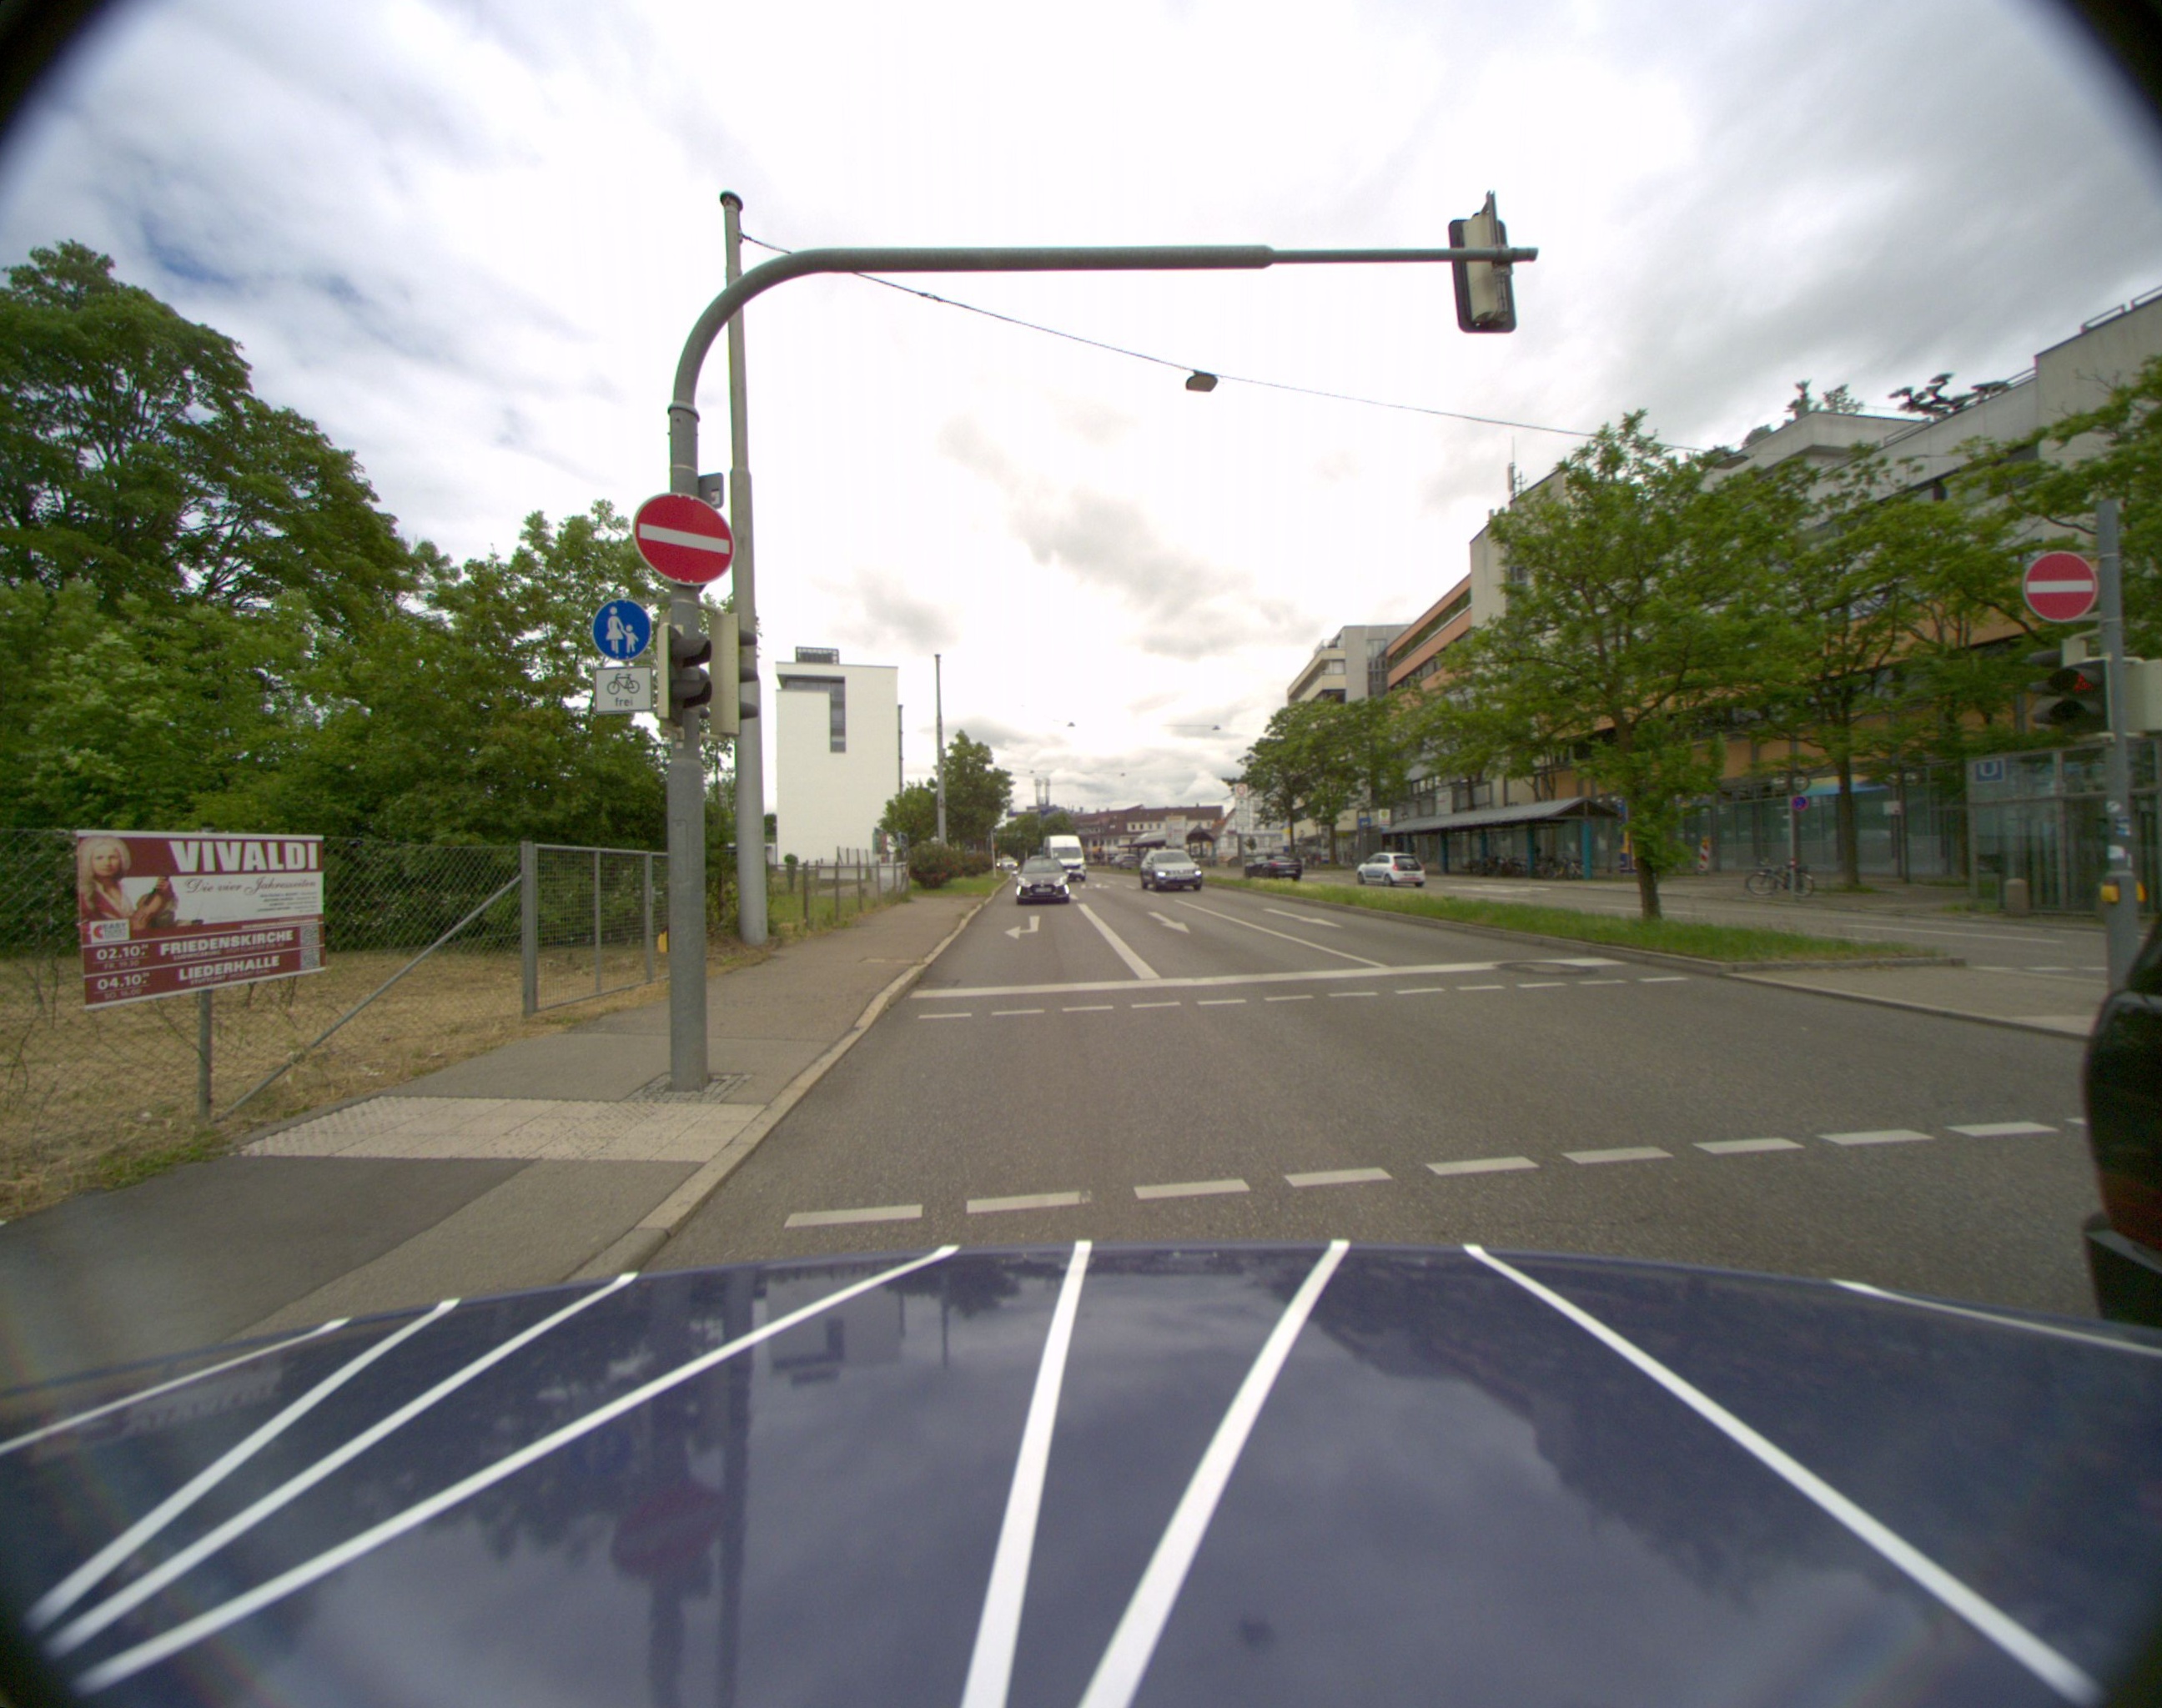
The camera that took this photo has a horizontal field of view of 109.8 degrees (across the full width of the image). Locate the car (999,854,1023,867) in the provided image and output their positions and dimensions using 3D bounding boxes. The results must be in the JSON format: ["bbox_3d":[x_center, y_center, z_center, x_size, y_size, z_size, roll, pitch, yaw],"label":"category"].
[{"bbox_3d":[-8.022,0.711,86.748,2.001,1.368,3.994,-1,1,-15],"label":"car"}]

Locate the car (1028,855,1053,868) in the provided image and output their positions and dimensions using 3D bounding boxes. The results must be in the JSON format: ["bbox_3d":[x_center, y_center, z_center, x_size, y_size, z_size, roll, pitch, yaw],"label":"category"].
[{"bbox_3d":[-4.556,0.812,84.772,2.001,1.368,3.994,-1,1,-15],"label":"car"}]

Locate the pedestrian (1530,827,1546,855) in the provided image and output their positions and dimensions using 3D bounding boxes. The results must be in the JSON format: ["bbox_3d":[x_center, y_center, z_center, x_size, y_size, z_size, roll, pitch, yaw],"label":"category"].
[{"bbox_3d":[27.067,-0.748,44.998,0.533,1.634,0.675,-1,1,-3],"label":"pedestrian"}]

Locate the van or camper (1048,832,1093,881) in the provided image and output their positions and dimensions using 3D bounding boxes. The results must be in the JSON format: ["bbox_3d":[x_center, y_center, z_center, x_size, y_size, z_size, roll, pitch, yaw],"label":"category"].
[{"bbox_3d":[-0.531,0.178,45.982,2.279,2.690,6.998,-1,-1,3],"label":"van or camper"}]

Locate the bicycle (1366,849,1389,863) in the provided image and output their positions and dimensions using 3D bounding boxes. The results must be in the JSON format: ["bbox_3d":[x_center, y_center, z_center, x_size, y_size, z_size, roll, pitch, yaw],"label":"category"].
[{"bbox_3d":[27.722,0.182,71.069,1.970,1.312,0.706,-1,1,12],"label":"bicycle"}]

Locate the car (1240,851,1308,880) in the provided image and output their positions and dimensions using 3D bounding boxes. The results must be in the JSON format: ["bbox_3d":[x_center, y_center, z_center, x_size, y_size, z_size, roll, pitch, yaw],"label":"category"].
[{"bbox_3d":[10.311,0.572,40.981,1.819,1.390,5.007,1,0,-8],"label":"car"}]

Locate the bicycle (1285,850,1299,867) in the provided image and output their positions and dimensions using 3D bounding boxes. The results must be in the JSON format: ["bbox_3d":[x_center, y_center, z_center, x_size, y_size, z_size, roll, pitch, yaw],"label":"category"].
[{"bbox_3d":[16.322,0.351,58.761,0.625,1.246,1.687,0,1,29],"label":"bicycle"}]

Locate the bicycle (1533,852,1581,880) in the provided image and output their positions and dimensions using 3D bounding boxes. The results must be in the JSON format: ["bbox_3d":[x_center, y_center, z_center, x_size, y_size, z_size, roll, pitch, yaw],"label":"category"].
[{"bbox_3d":[22.179,0.533,35.367,2.073,1.147,0.710,-5,2,-19],"label":"bicycle"}]

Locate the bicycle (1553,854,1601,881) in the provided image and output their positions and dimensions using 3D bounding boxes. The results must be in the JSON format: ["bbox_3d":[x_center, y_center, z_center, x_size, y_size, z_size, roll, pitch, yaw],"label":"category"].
[{"bbox_3d":[22.453,0.584,34.378,2.073,1.147,0.710,-2,1,-19],"label":"bicycle"}]

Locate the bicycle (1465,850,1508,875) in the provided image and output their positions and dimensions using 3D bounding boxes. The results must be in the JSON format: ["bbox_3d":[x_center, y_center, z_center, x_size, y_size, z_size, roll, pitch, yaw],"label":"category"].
[{"bbox_3d":[21.252,0.446,39.823,2.073,1.147,0.710,-4,1,-19],"label":"bicycle"}]

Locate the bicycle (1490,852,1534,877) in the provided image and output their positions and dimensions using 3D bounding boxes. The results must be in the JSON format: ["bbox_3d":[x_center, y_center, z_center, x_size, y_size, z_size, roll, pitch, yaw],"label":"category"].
[{"bbox_3d":[21.359,0.512,37.668,2.073,1.147,0.710,-2,1,-19],"label":"bicycle"}]

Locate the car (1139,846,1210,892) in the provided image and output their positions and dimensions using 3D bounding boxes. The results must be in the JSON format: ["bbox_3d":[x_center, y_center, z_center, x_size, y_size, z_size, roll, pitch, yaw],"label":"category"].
[{"bbox_3d":[3.708,0.564,30.994,1.999,1.640,4.392,-3,0,-4],"label":"car"}]

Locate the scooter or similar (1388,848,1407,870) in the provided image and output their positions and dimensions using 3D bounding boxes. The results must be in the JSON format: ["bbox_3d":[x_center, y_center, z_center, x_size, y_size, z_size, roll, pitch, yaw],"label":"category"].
[{"bbox_3d":[19.967,0.308,47.948,1.205,1.377,0.222,-1,1,-11],"label":"scooter or similar"}]

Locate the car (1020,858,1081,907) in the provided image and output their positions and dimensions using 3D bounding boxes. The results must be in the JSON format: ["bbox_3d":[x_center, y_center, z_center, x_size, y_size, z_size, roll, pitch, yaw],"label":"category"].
[{"bbox_3d":[-1.109,0.916,25.633,1.864,1.516,3.999,-1,-1,-5],"label":"car"}]

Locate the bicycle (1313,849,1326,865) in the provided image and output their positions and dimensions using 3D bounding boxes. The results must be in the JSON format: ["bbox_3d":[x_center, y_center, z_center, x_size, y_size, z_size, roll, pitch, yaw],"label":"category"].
[{"bbox_3d":[18.342,0.226,58.364,0.625,1.246,1.687,0,1,29],"label":"bicycle"}]

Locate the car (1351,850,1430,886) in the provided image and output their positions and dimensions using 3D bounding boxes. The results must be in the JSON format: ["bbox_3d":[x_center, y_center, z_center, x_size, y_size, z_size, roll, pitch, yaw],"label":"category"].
[{"bbox_3d":[14.344,0.604,35.412,1.753,1.509,3.997,-1,1,-6],"label":"car"}]

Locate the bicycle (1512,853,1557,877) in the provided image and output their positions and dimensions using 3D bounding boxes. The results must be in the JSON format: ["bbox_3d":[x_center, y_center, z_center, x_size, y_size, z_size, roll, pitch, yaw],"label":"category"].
[{"bbox_3d":[21.878,0.516,36.652,2.073,1.147,0.710,-1,1,-19],"label":"bicycle"}]

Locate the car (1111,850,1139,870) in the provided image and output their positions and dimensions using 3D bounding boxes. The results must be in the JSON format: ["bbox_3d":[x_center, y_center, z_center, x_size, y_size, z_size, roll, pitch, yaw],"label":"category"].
[{"bbox_3d":[3.691,0.471,64.170,1.999,1.565,4.515,-1,0,-2],"label":"car"}]
